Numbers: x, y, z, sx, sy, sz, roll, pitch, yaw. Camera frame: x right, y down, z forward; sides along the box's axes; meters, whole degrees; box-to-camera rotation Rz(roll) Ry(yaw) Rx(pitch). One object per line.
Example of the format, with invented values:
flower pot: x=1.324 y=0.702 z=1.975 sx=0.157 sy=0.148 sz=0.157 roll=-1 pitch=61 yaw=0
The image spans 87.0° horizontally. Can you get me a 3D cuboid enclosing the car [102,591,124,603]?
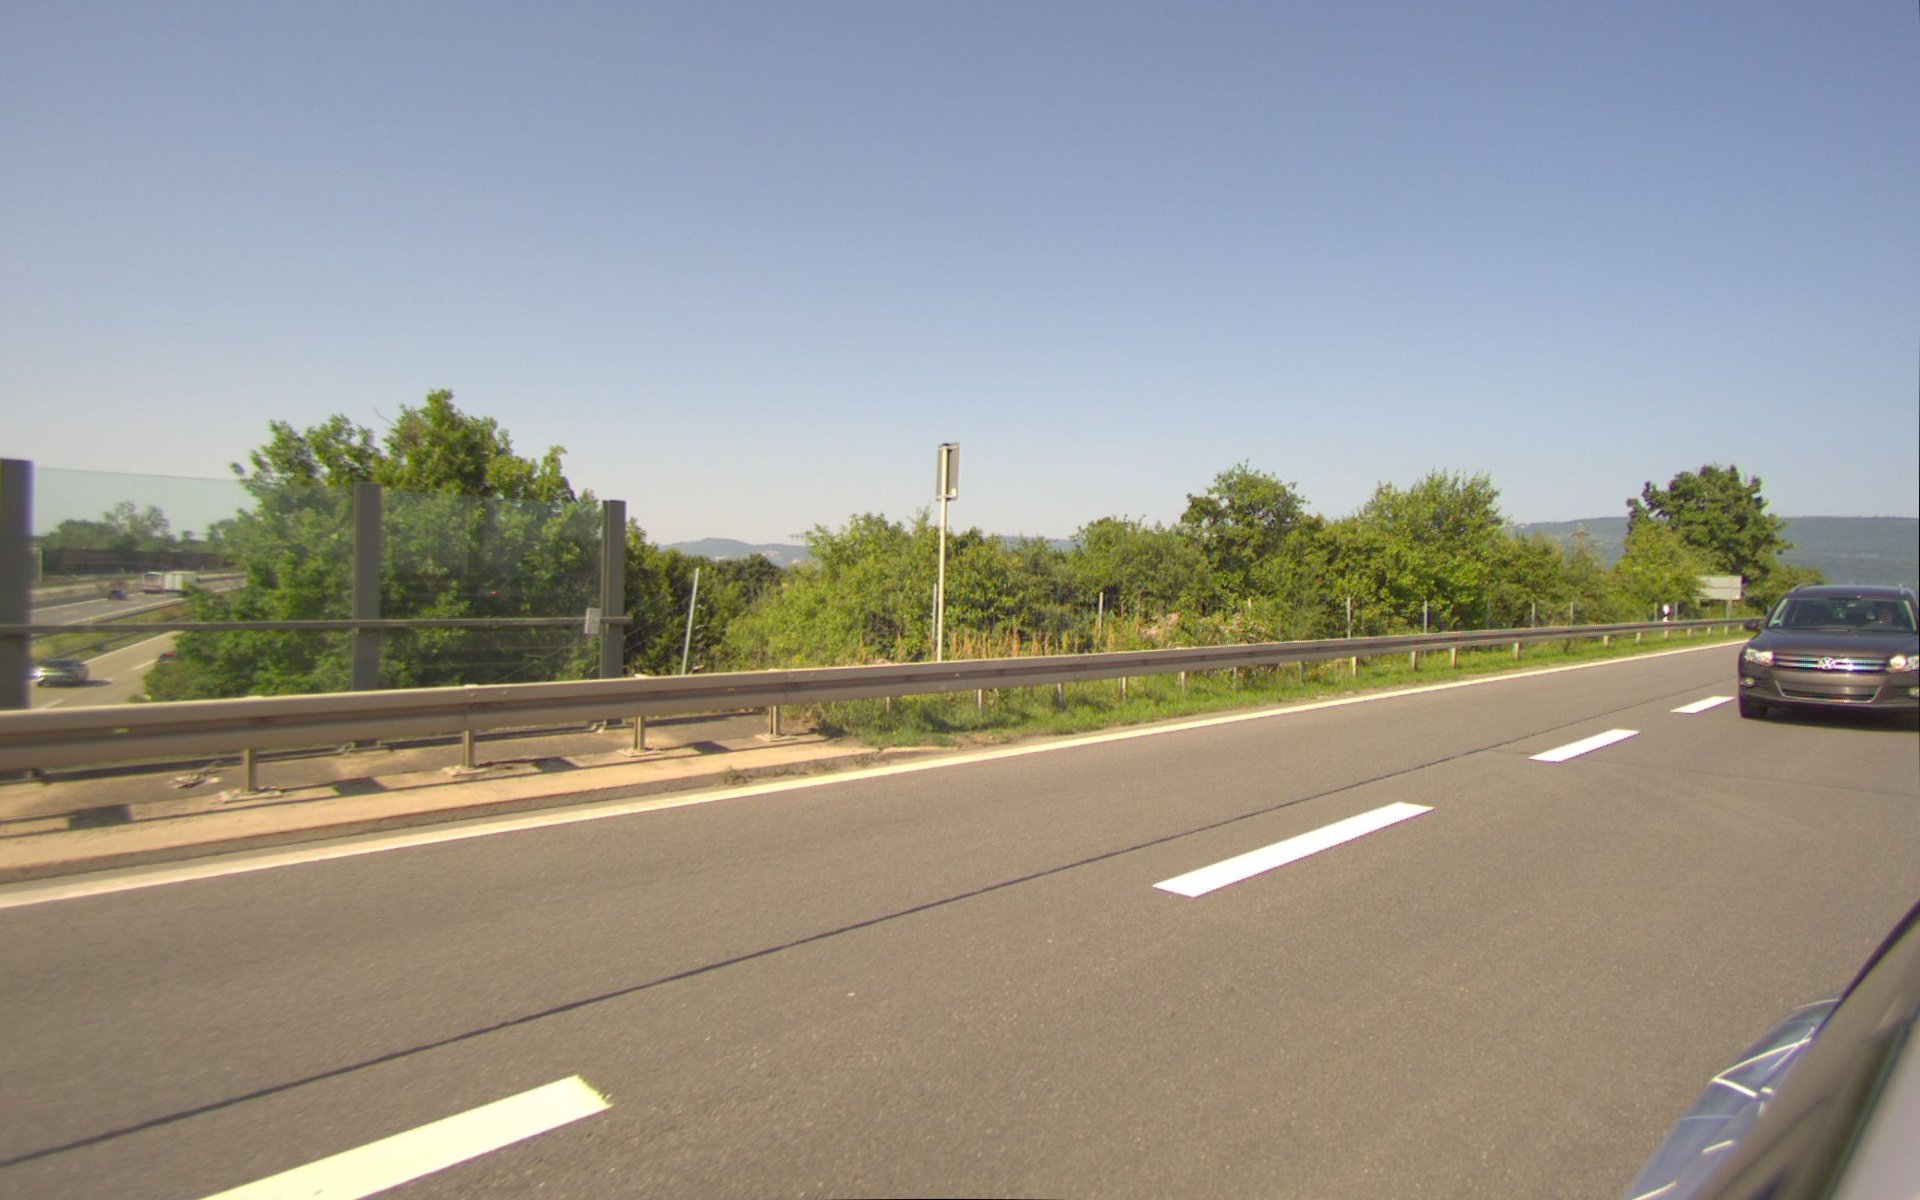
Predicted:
car: x=-127.892 y=-0.402 z=152.854 sx=1.841 sy=1.786 sz=4.005 roll=0 pitch=0 yaw=-29

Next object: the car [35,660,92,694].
car: x=-56.093 y=4.772 z=63.400 sx=1.744 sy=1.794 sz=4.005 roll=0 pitch=0 yaw=-28

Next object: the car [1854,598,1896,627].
car: x=55.813 y=0.751 z=61.731 sx=1.859 sy=1.687 sz=3.938 roll=0 pitch=0 yaw=43

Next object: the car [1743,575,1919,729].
car: x=11.413 y=0.548 z=12.834 sx=4.079 sy=1.667 sz=1.787 roll=0 pitch=1 yaw=-44
